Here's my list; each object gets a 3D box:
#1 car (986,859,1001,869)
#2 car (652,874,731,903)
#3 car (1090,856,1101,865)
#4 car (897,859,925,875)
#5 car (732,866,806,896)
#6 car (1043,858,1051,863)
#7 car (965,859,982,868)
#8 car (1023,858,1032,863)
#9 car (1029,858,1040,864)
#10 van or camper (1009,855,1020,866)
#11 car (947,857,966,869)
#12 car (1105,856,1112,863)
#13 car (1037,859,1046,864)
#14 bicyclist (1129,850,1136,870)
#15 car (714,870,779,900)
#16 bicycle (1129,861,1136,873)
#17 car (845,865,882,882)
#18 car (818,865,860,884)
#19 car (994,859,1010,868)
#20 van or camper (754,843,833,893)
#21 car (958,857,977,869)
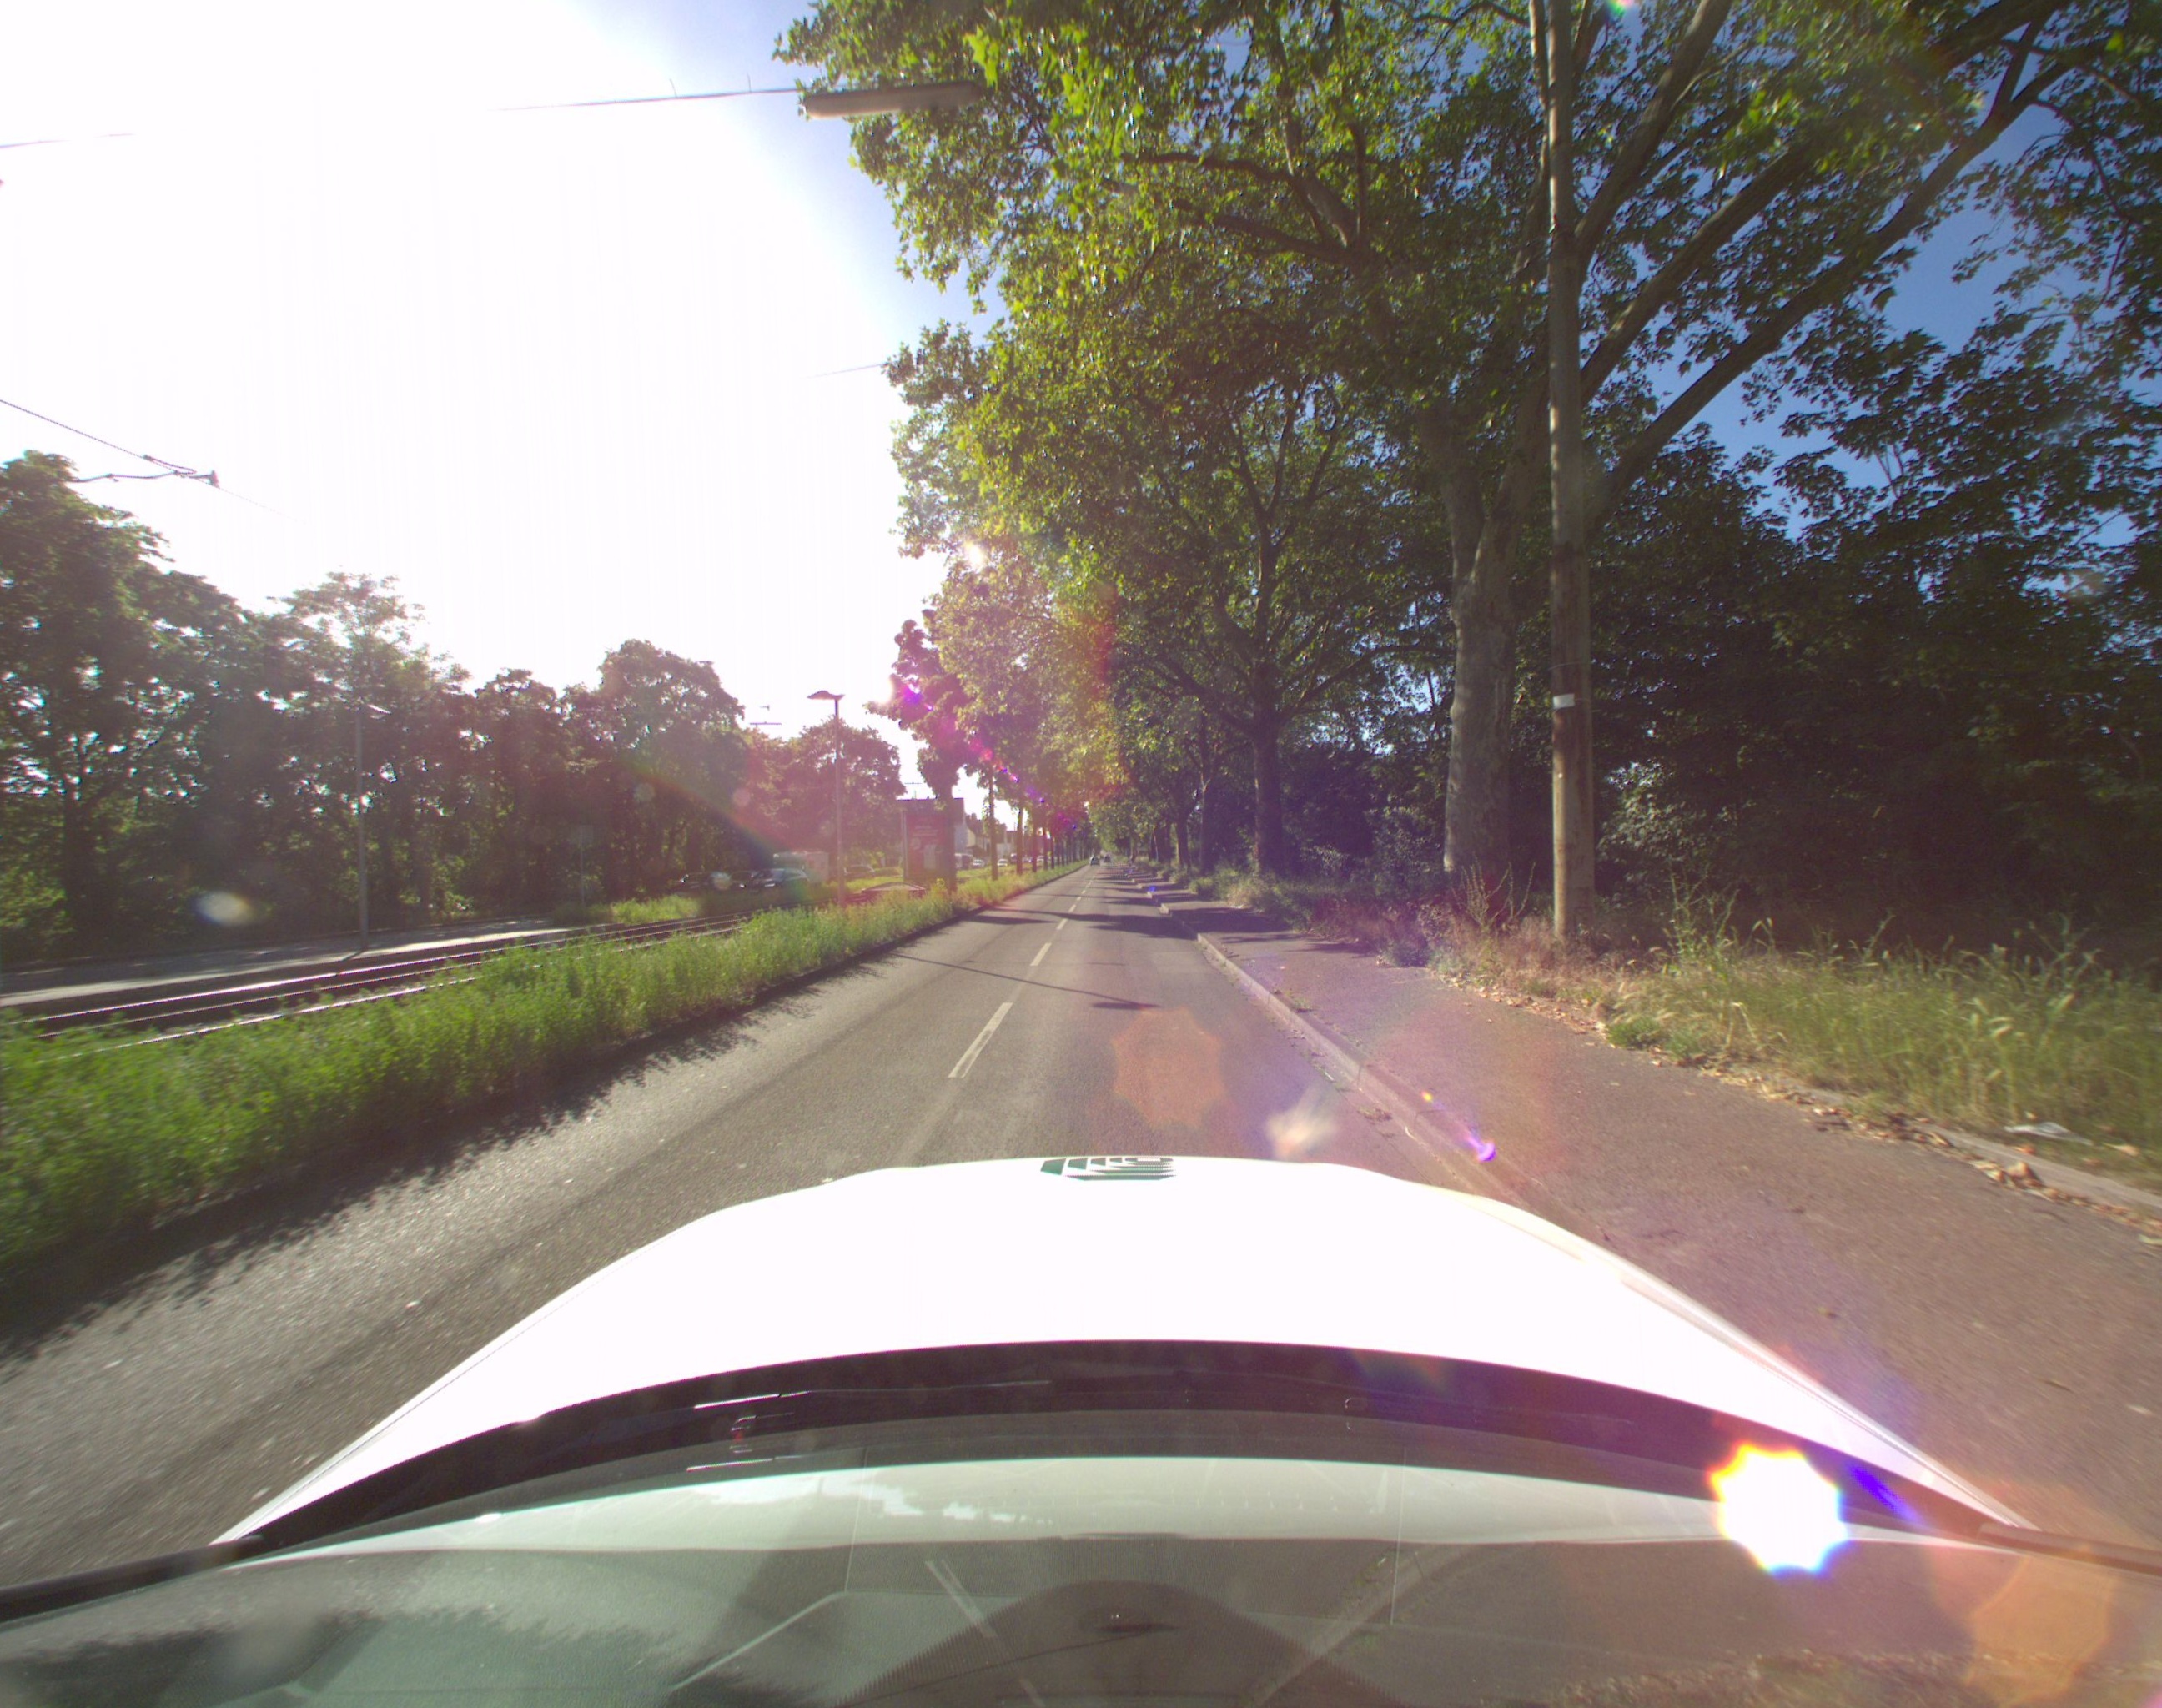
[{"bbox_3d":[-15.779,1.739,147.517,1.984,1.643,4.005,-2,0,4],"label":"car"},{"bbox_3d":[-20.105,1.769,42.241,1.912,1.266,4.004,-2,0,3],"label":"car"},{"bbox_3d":[2.398,1.074,134.212,1.860,1.486,3.557,-1,0,2],"label":"car"},{"bbox_3d":[-18.266,1.361,87.437,1.912,1.577,4.003,-2,0,3],"label":"car"},{"bbox_3d":[-15.496,1.310,40.677,1.912,1.266,4.003,-2,0,3],"label":"car"},{"bbox_3d":[-9.156,1.696,219.908,1.914,1.266,4.001,-2,0,1],"label":"car"},{"bbox_3d":[-17.536,1.571,133.085,1.912,1.438,4.003,-2,0,3],"label":"car"},{"bbox_3d":[-14.065,1.790,212.943,1.914,1.266,4.001,-2,0,1],"label":"car"},{"bbox_3d":[-10.387,1.579,181.987,1.914,1.266,4.001,-2,0,1],"label":"car"},{"bbox_3d":[-15.463,1.501,190.539,1.985,2.431,4.003,-2,0,3],"label":"van or camper"},{"bbox_3d":[-17.046,1.188,111.690,1.737,1.496,3.595,-2,0,3],"label":"car"},{"bbox_3d":[6.234,1.169,184.154,1.743,1.604,3.752,-1,0,2],"label":"car"},{"bbox_3d":[-9.820,1.791,202.277,1.914,1.266,4.001,-2,0,1],"label":"car"},{"bbox_3d":[4.640,0.513,73.910,0.532,1.770,0.713,-2,0,0],"label":"bicyclist"},{"bbox_3d":[-19.641,1.809,48.011,1.912,1.562,4.004,-2,0,4],"label":"car"},{"bbox_3d":[4.670,1.205,73.803,0.534,1.066,1.433,-2,0,0],"label":"bicycle"},{"bbox_3d":[-18.403,1.619,68.998,1.913,1.266,4.002,-2,0,2],"label":"car"},{"bbox_3d":[-18.627,1.553,62.840,1.913,1.266,4.002,-2,0,2],"label":"car"},{"bbox_3d":[-12.409,1.457,127.790,1.912,1.266,4.003,-2,0,3],"label":"car"},{"bbox_3d":[-19.274,0.890,55.051,2.580,3.106,6.791,-2,0,2],"label":"van or camper"},{"bbox_3d":[-16.541,1.266,118.984,1.912,1.627,4.003,-2,0,3],"label":"car"}]
